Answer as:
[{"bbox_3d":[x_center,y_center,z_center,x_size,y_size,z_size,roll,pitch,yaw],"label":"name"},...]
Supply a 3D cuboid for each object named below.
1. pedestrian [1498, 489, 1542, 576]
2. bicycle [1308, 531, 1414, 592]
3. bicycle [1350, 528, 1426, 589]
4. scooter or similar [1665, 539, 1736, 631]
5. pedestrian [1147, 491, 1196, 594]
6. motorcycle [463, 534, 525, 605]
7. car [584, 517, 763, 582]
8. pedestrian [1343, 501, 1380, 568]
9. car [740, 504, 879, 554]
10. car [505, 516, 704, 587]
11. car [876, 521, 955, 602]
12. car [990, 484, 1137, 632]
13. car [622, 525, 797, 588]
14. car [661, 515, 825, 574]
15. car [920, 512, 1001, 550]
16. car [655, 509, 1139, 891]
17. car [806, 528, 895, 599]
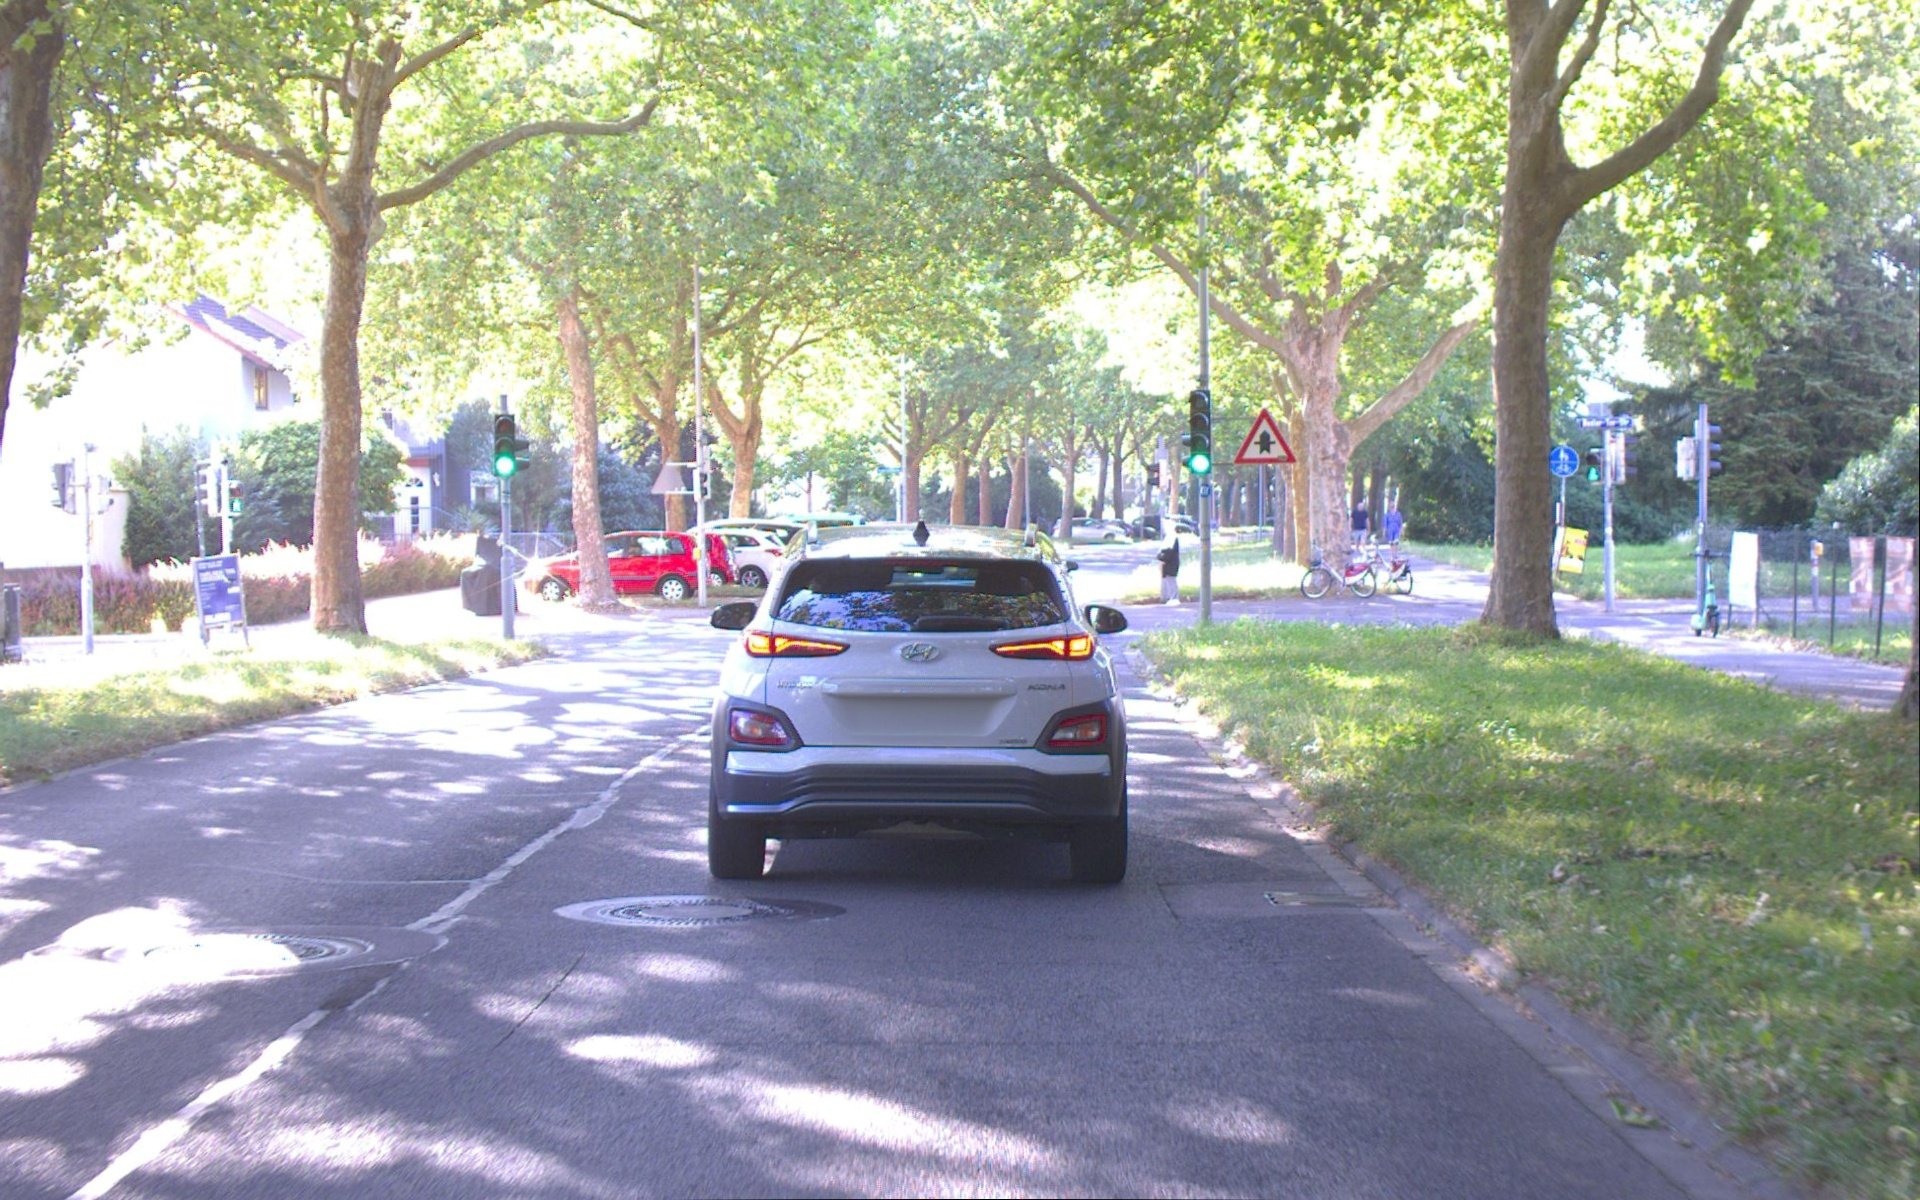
[{"bbox_3d":[11.237,-1.361,68.979,0.834,1.730,0.885,0,1,9],"label":"pedestrian"},{"bbox_3d":[7.693,-0.745,66.108,0.603,1.160,2.149,0,1,-42],"label":"bicycle"},{"bbox_3d":[8.363,-0.811,67.246,0.603,1.179,2.119,0,1,-18],"label":"bicycle"},{"bbox_3d":[10.331,-0.224,48.029,0.549,1.254,2.313,0,1,2],"label":"scooter or similar"},{"bbox_3d":[4.187,-1.139,67.993,0.868,2.007,0.813,0,1,9],"label":"pedestrian"},{"bbox_3d":[-9.294,-0.617,68.692,0.846,1.374,2.776,0,1,0],"label":"motorcycle"},{"bbox_3d":[-6.689,-1.189,80.656,3.987,1.473,2.000,0,1,2],"label":"car"},{"bbox_3d":[12.202,-1.991,104.401,1.095,2.007,1.105,0,1,8],"label":"pedestrian"},{"bbox_3d":[-4.472,-2.116,102.580,3.987,1.473,2.000,0,1,2],"label":"car"},{"bbox_3d":[-7.533,-1.027,73.140,3.987,1.473,2.000,0,1,2],"label":"car"},{"bbox_3d":[-1.047,-0.927,82.409,1.791,1.875,4.000,0,1,0],"label":"car"},{"bbox_3d":[1.431,-0.617,48.545,1.993,2.007,4.000,0,1,1],"label":"car"},{"bbox_3d":[-6.010,-1.060,82.826,3.987,1.473,2.000,0,1,3],"label":"car"},{"bbox_3d":[-5.488,-1.409,87.278,3.987,1.473,2.000,0,1,2],"label":"car"},{"bbox_3d":[0.020,-3.296,164.599,3.668,1.802,1.749,0,1,-8],"label":"car"},{"bbox_3d":[-0.249,0.380,16.211,1.993,1.569,4.000,0,1,0],"label":"car"},{"bbox_3d":[-2.310,-0.797,73.303,1.688,1.432,3.682,0,2,1],"label":"car"}]
